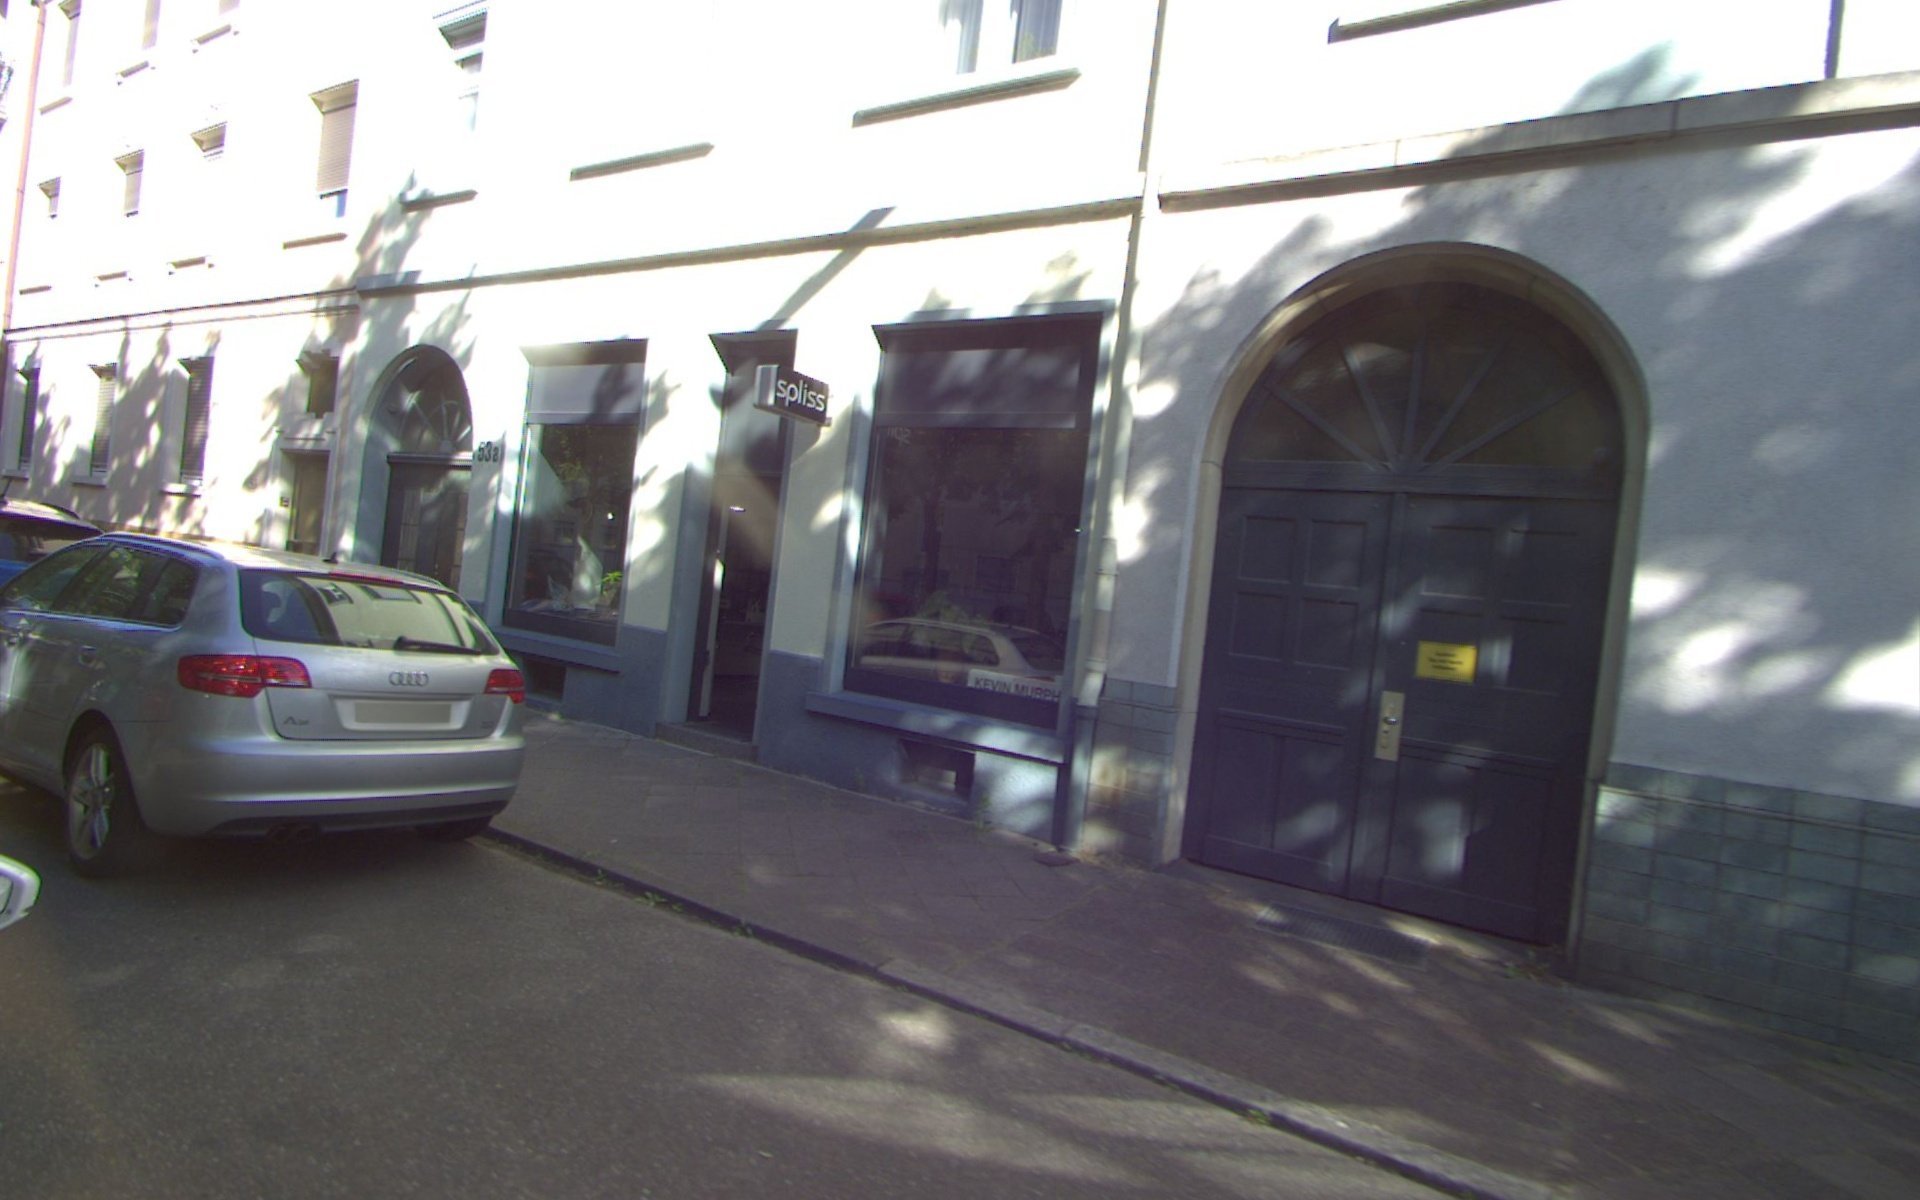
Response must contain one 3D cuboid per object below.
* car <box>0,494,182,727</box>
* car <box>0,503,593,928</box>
[{"bbox_3d":[-8.196,-0.113,8.014,4.114,1.571,1.769,7,0,32],"label":"car"},{"bbox_3d":[-4.200,0.343,5.537,4.220,1.448,1.772,7,-1,32],"label":"car"}]
